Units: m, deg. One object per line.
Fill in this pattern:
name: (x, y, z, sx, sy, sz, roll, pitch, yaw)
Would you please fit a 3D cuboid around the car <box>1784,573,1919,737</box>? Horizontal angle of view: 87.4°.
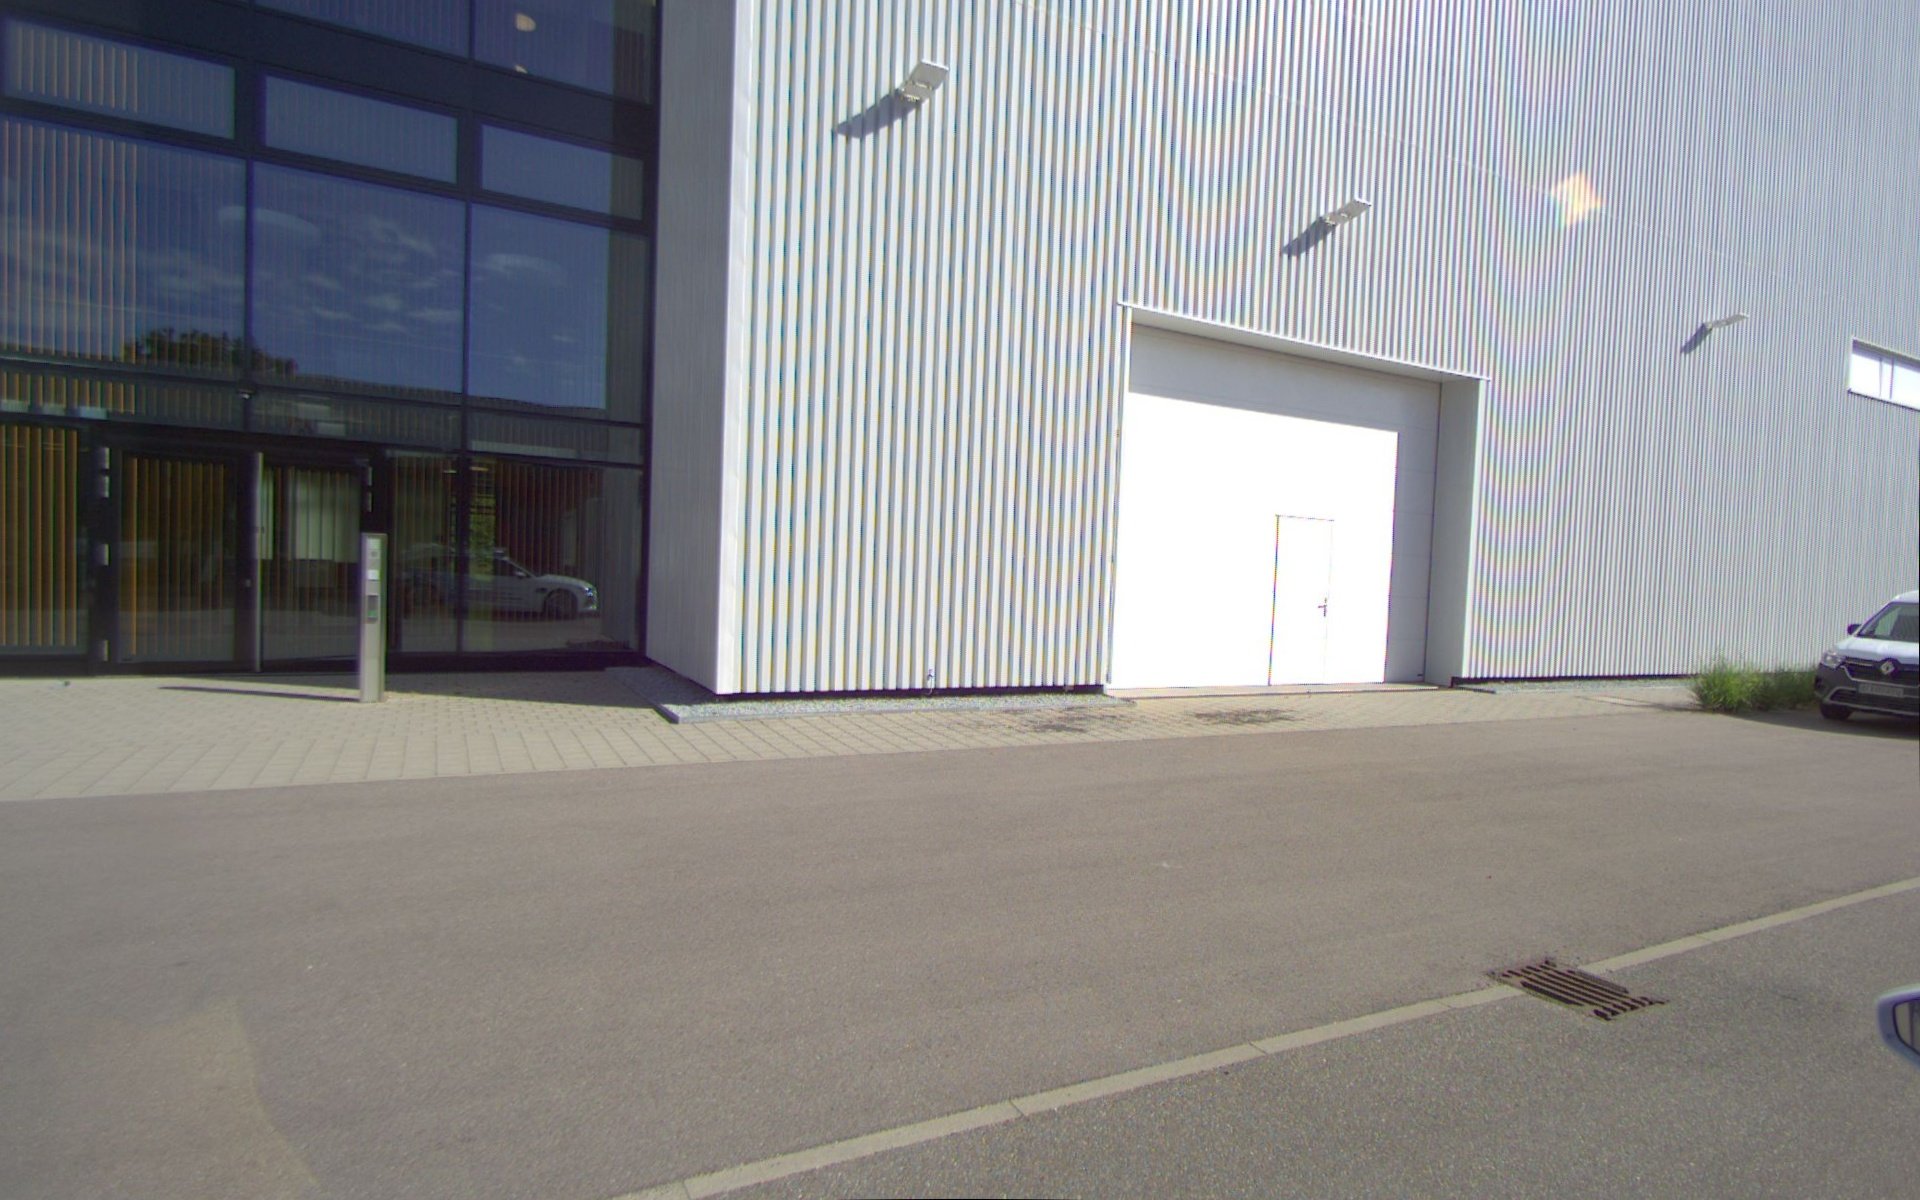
car: (13.075, 0.703, 13.212, 4.305, 1.870, 1.882, 1, 4, -29)
